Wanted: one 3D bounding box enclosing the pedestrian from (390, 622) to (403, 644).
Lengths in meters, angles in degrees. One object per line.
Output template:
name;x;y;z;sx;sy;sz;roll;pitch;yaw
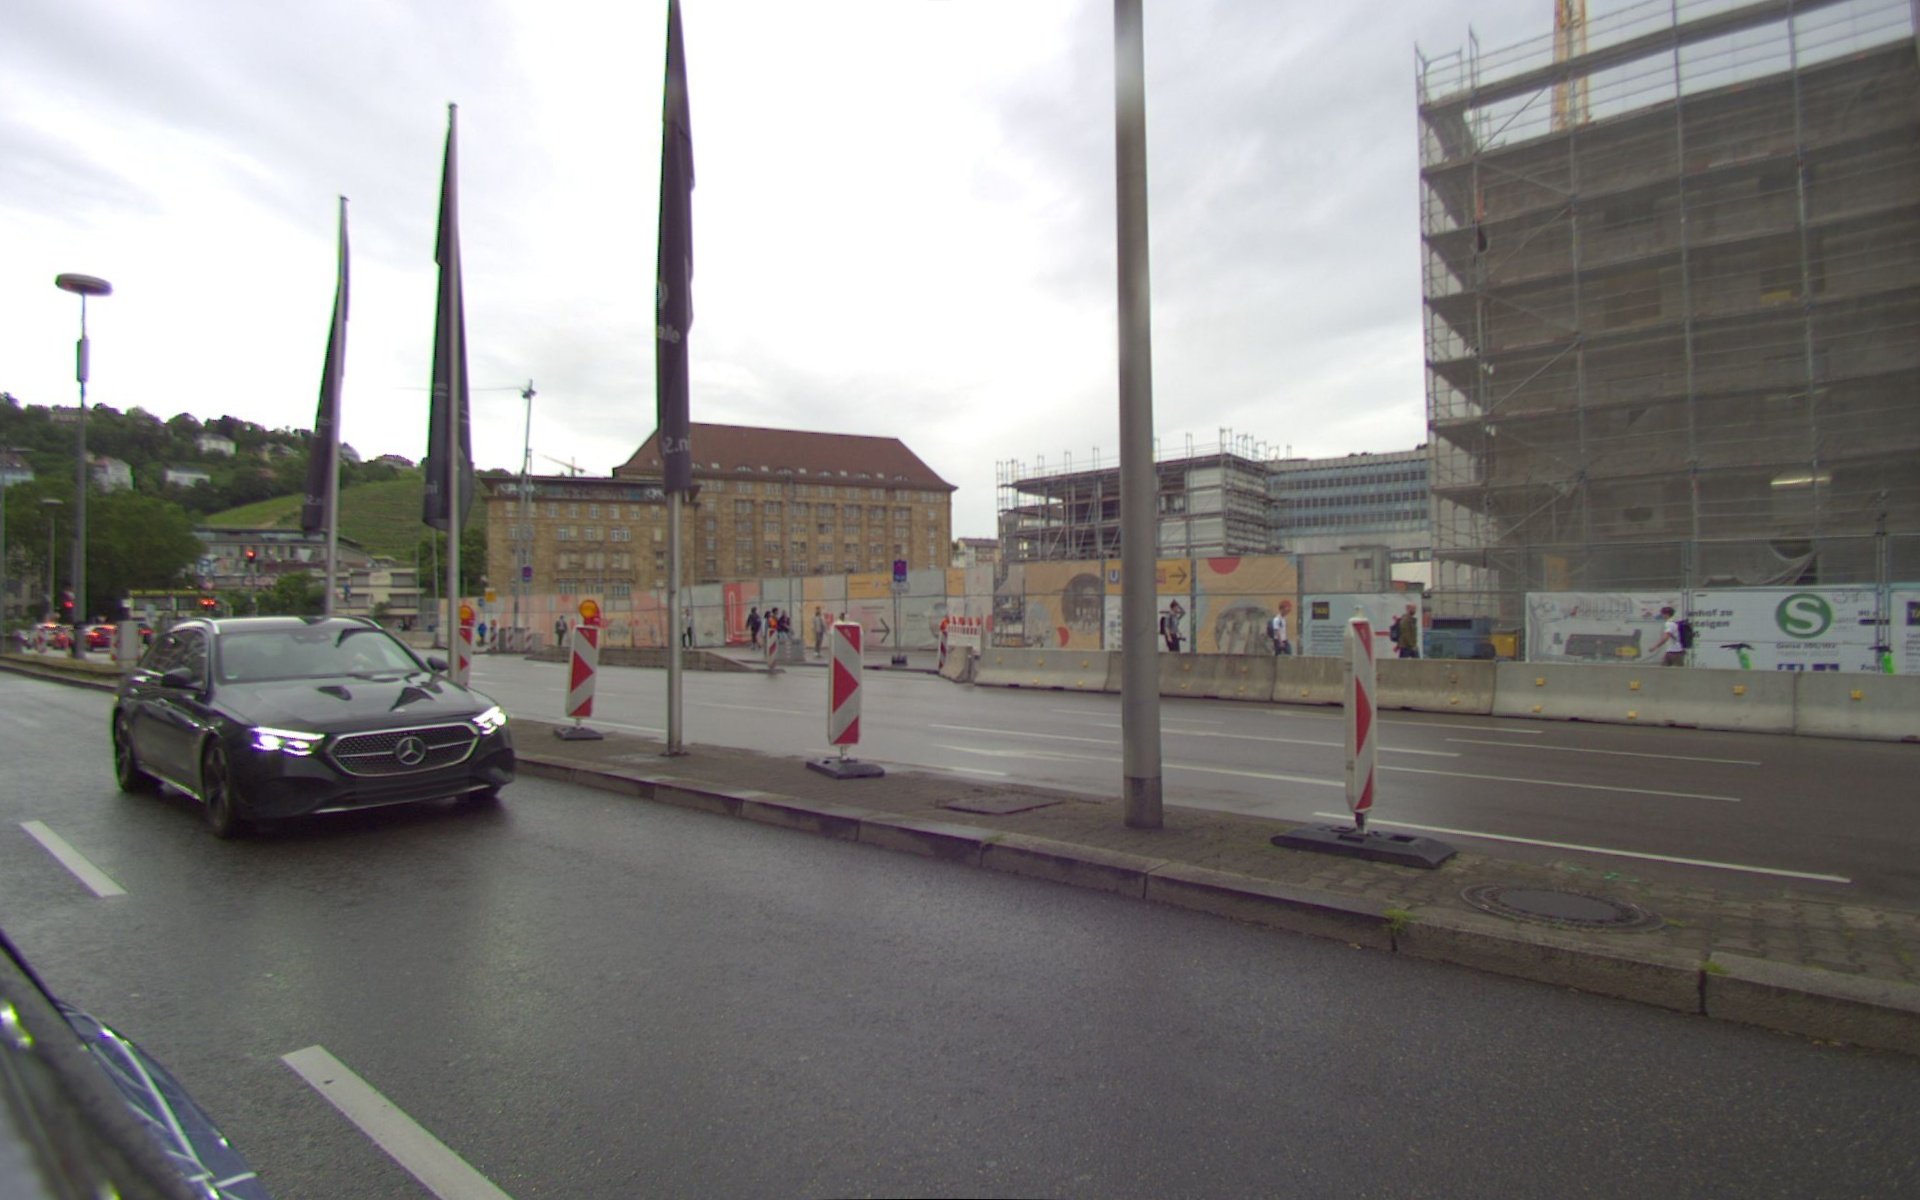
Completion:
pedestrian;-41.680;2.445;74.873;0.544;1.628;0.706;-1;0;41

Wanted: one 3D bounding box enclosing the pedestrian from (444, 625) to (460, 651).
pedestrian;-32.173;2.418;64.114;0.544;1.628;0.706;-1;0;41

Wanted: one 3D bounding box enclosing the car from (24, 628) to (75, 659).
car;-55.087;2.599;61.210;3.913;1.707;1.763;-1;0;40

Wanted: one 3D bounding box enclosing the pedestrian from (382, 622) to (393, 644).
pedestrian;-44.582;2.575;78.752;0.704;1.628;0.545;-1;0;-32

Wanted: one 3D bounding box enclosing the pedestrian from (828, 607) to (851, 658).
pedestrian;-4.396;1.186;36.990;0.651;1.850;0.557;-1;0;-29

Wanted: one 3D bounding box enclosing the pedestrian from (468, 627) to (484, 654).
pedestrian;-29.160;2.442;61.015;0.544;1.628;0.706;-1;0;41

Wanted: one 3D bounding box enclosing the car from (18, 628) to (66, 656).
car;-59.860;2.681;65.954;3.913;1.707;1.763;-1;0;40

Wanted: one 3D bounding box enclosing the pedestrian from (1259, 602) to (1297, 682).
pedestrian;7.538;0.985;23.996;0.717;1.850;0.475;-1;0;41

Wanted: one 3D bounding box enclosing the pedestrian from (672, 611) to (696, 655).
pedestrian;-11.780;1.404;43.219;0.720;1.850;0.656;-1;0;41

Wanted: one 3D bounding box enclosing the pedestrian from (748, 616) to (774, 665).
pedestrian;-7.192;1.451;36.561;0.704;1.746;0.719;-1;0;-31

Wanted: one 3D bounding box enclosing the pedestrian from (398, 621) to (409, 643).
pedestrian;-43.498;2.505;79.136;0.704;1.628;0.545;-1;0;-31

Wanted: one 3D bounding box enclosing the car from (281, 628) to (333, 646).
car;-60.381;3.393;93.525;3.934;1.644;2.005;0;-2;-36

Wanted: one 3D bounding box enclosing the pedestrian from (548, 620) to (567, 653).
pedestrian;-20.228;1.806;50.835;0.544;1.628;0.706;-1;0;41

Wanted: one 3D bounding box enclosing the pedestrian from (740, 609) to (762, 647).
pedestrian;-8.949;1.193;43.283;0.544;1.628;0.706;-1;0;41

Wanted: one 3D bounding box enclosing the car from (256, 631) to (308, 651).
car;-69.142;4.123;103.189;4.136;1.871;1.833;-1;0;-44

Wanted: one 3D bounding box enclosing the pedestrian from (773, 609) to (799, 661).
pedestrian;-6.342;1.263;36.976;0.704;1.850;0.719;-1;0;-31

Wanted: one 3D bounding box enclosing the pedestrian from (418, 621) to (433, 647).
pedestrian;-34.451;2.176;65.237;0.544;1.628;0.706;-1;0;41

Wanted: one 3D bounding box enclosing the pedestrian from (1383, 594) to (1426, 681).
pedestrian;9.588;0.801;21.851;0.717;1.850;0.475;-1;0;41

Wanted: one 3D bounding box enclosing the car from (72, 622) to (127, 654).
car;-48.481;2.130;56.983;3.914;1.707;1.762;-2;-2;41

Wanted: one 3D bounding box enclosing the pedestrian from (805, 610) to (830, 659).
pedestrian;-5.185;1.241;36.876;0.704;1.757;0.565;-1;0;-29

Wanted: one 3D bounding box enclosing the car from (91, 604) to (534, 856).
car;-5.449;0.806;8.240;4.585;1.480;1.836;-1;0;41

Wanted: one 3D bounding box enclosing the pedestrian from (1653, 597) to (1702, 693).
pedestrian;14.087;0.867;19.862;0.717;1.850;0.475;-1;0;41

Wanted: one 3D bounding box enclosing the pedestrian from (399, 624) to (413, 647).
pedestrian;-38.566;2.468;70.442;0.544;1.628;0.706;-1;0;41

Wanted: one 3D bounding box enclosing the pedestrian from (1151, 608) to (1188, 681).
pedestrian;5.409;1.136;26.087;0.717;1.850;0.579;-1;0;41
